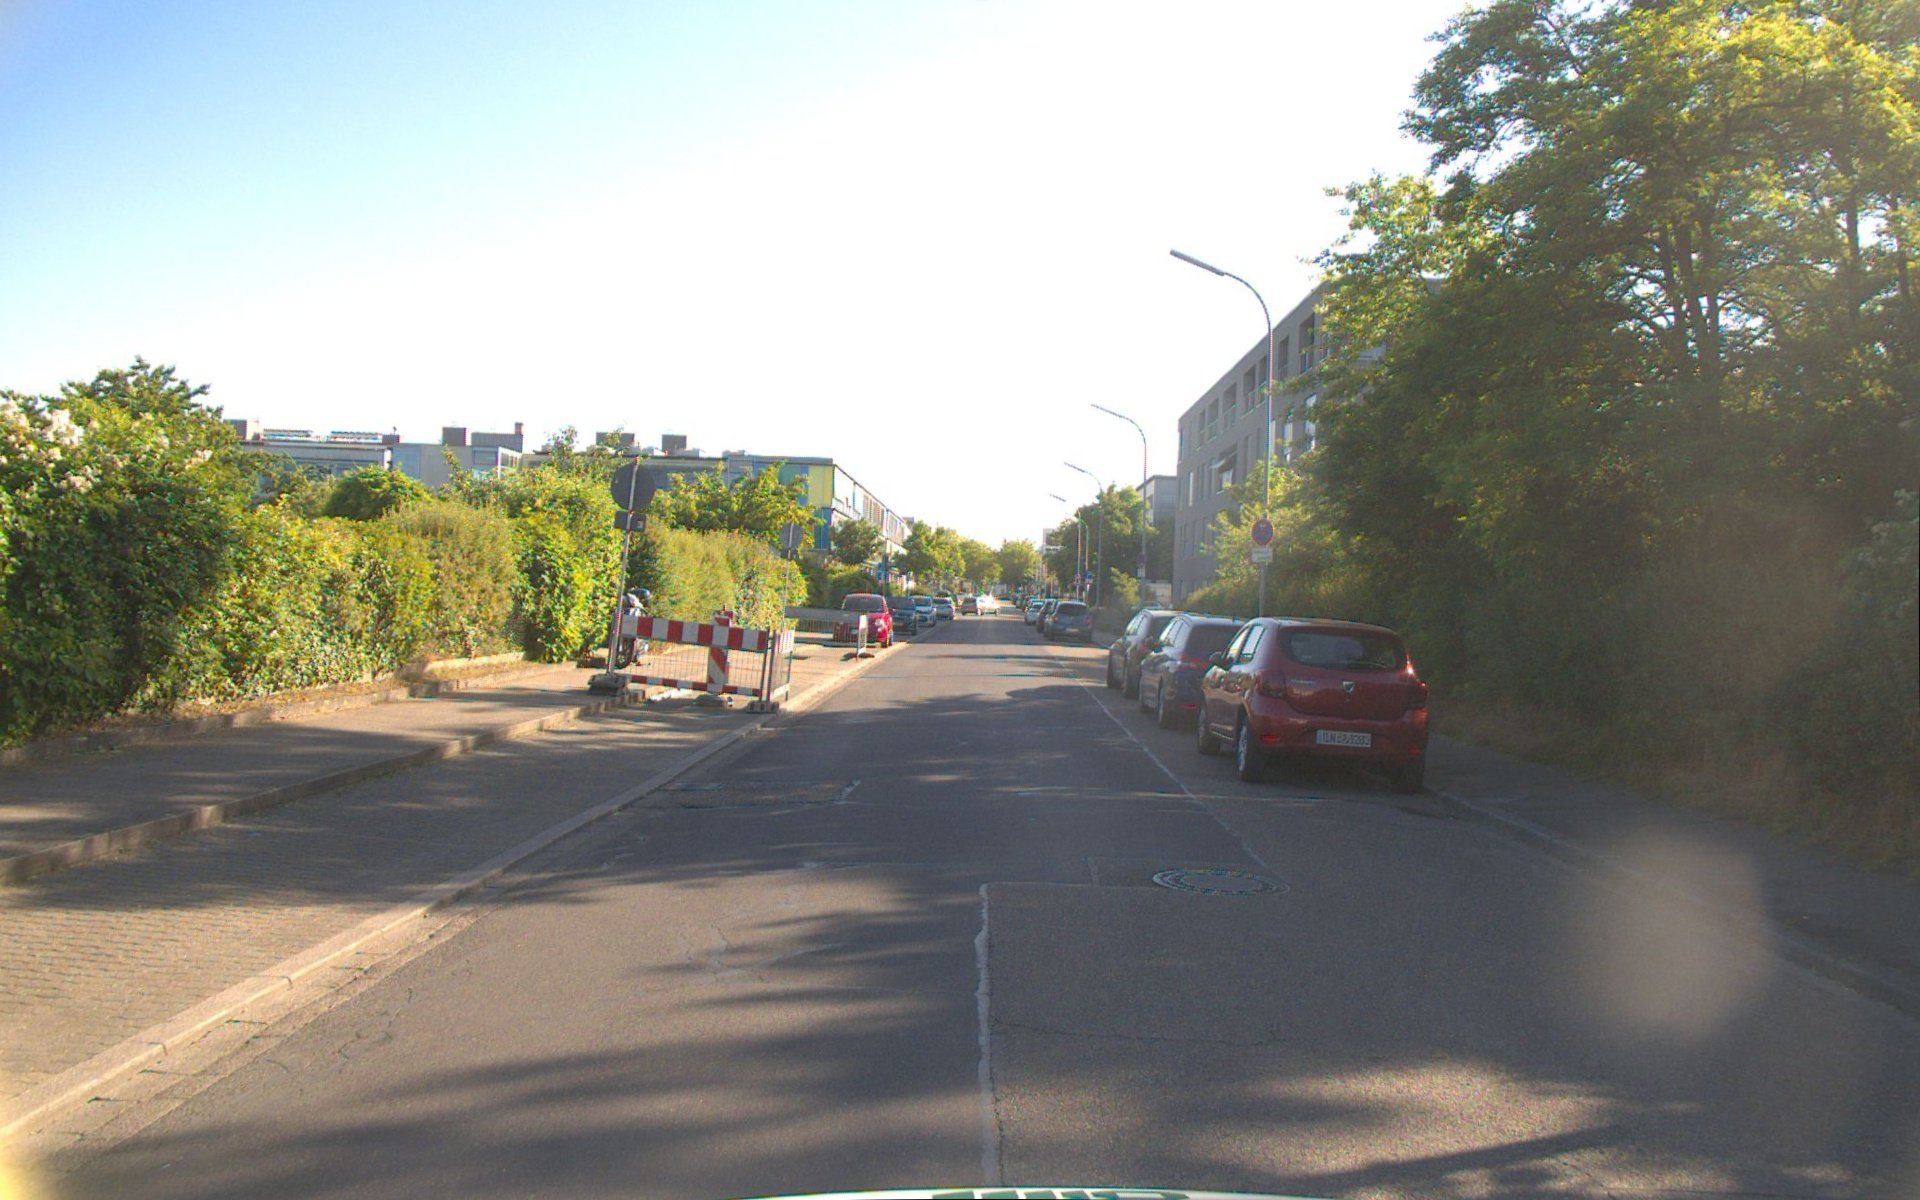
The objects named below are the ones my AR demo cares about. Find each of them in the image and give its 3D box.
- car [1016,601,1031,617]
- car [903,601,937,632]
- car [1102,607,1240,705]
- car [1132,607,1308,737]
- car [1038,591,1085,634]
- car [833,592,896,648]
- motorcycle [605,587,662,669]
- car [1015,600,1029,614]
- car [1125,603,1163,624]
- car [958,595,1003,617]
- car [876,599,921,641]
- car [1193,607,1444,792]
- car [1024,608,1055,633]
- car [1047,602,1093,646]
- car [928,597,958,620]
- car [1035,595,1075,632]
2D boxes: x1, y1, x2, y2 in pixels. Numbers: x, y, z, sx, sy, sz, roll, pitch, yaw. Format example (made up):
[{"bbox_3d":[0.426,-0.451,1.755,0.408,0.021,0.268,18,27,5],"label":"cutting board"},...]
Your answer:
[{"bbox_3d":[6.726,0.916,174.628,1.415,1.576,3.614,4,0,0],"label":"car"},{"bbox_3d":[-2.022,0.825,83.684,1.527,1.521,3.759,2,0,1],"label":"car"},{"bbox_3d":[3.577,0.907,28.775,1.718,1.438,4.656,4,0,0],"label":"car"},{"bbox_3d":[3.427,0.889,22.594,1.621,1.469,4.656,4,0,0],"label":"car"},{"bbox_3d":[4.247,0.534,69.923,1.642,1.636,4.179,4,0,0],"label":"car"},{"bbox_3d":[-2.761,0.576,48.299,1.527,1.521,3.571,2,0,1],"label":"car"},{"bbox_3d":[-5.406,0.462,27.482,0.555,1.290,2.090,3,-1,-3],"label":"motorcycle"},{"bbox_3d":[7.491,0.798,200.031,1.415,1.576,3.614,4,0,0],"label":"car"},{"bbox_3d":[15.844,1.139,142.468,3.149,1.576,1.450,4,0,4],"label":"car"},{"bbox_3d":[1.684,0.494,134.451,1.664,1.576,3.594,3,0,41],"label":"car"},{"bbox_3d":[-2.456,0.800,66.641,1.528,1.520,3.571,5,0,1],"label":"car"},{"bbox_3d":[3.450,0.895,16.588,1.621,1.512,3.839,4,0,0],"label":"car"},{"bbox_3d":[4.982,1.266,103.928,1.706,1.453,4.134,4,0,1],"label":"car"},{"bbox_3d":[4.264,0.923,64.621,1.589,1.553,3.902,4,0,2],"label":"car"},{"bbox_3d":[-1.150,0.571,112.945,1.816,1.453,4.134,4,0,1],"label":"car"},{"bbox_3d":[4.566,0.632,79.897,1.706,1.653,4.179,4,0,1],"label":"car"}]
